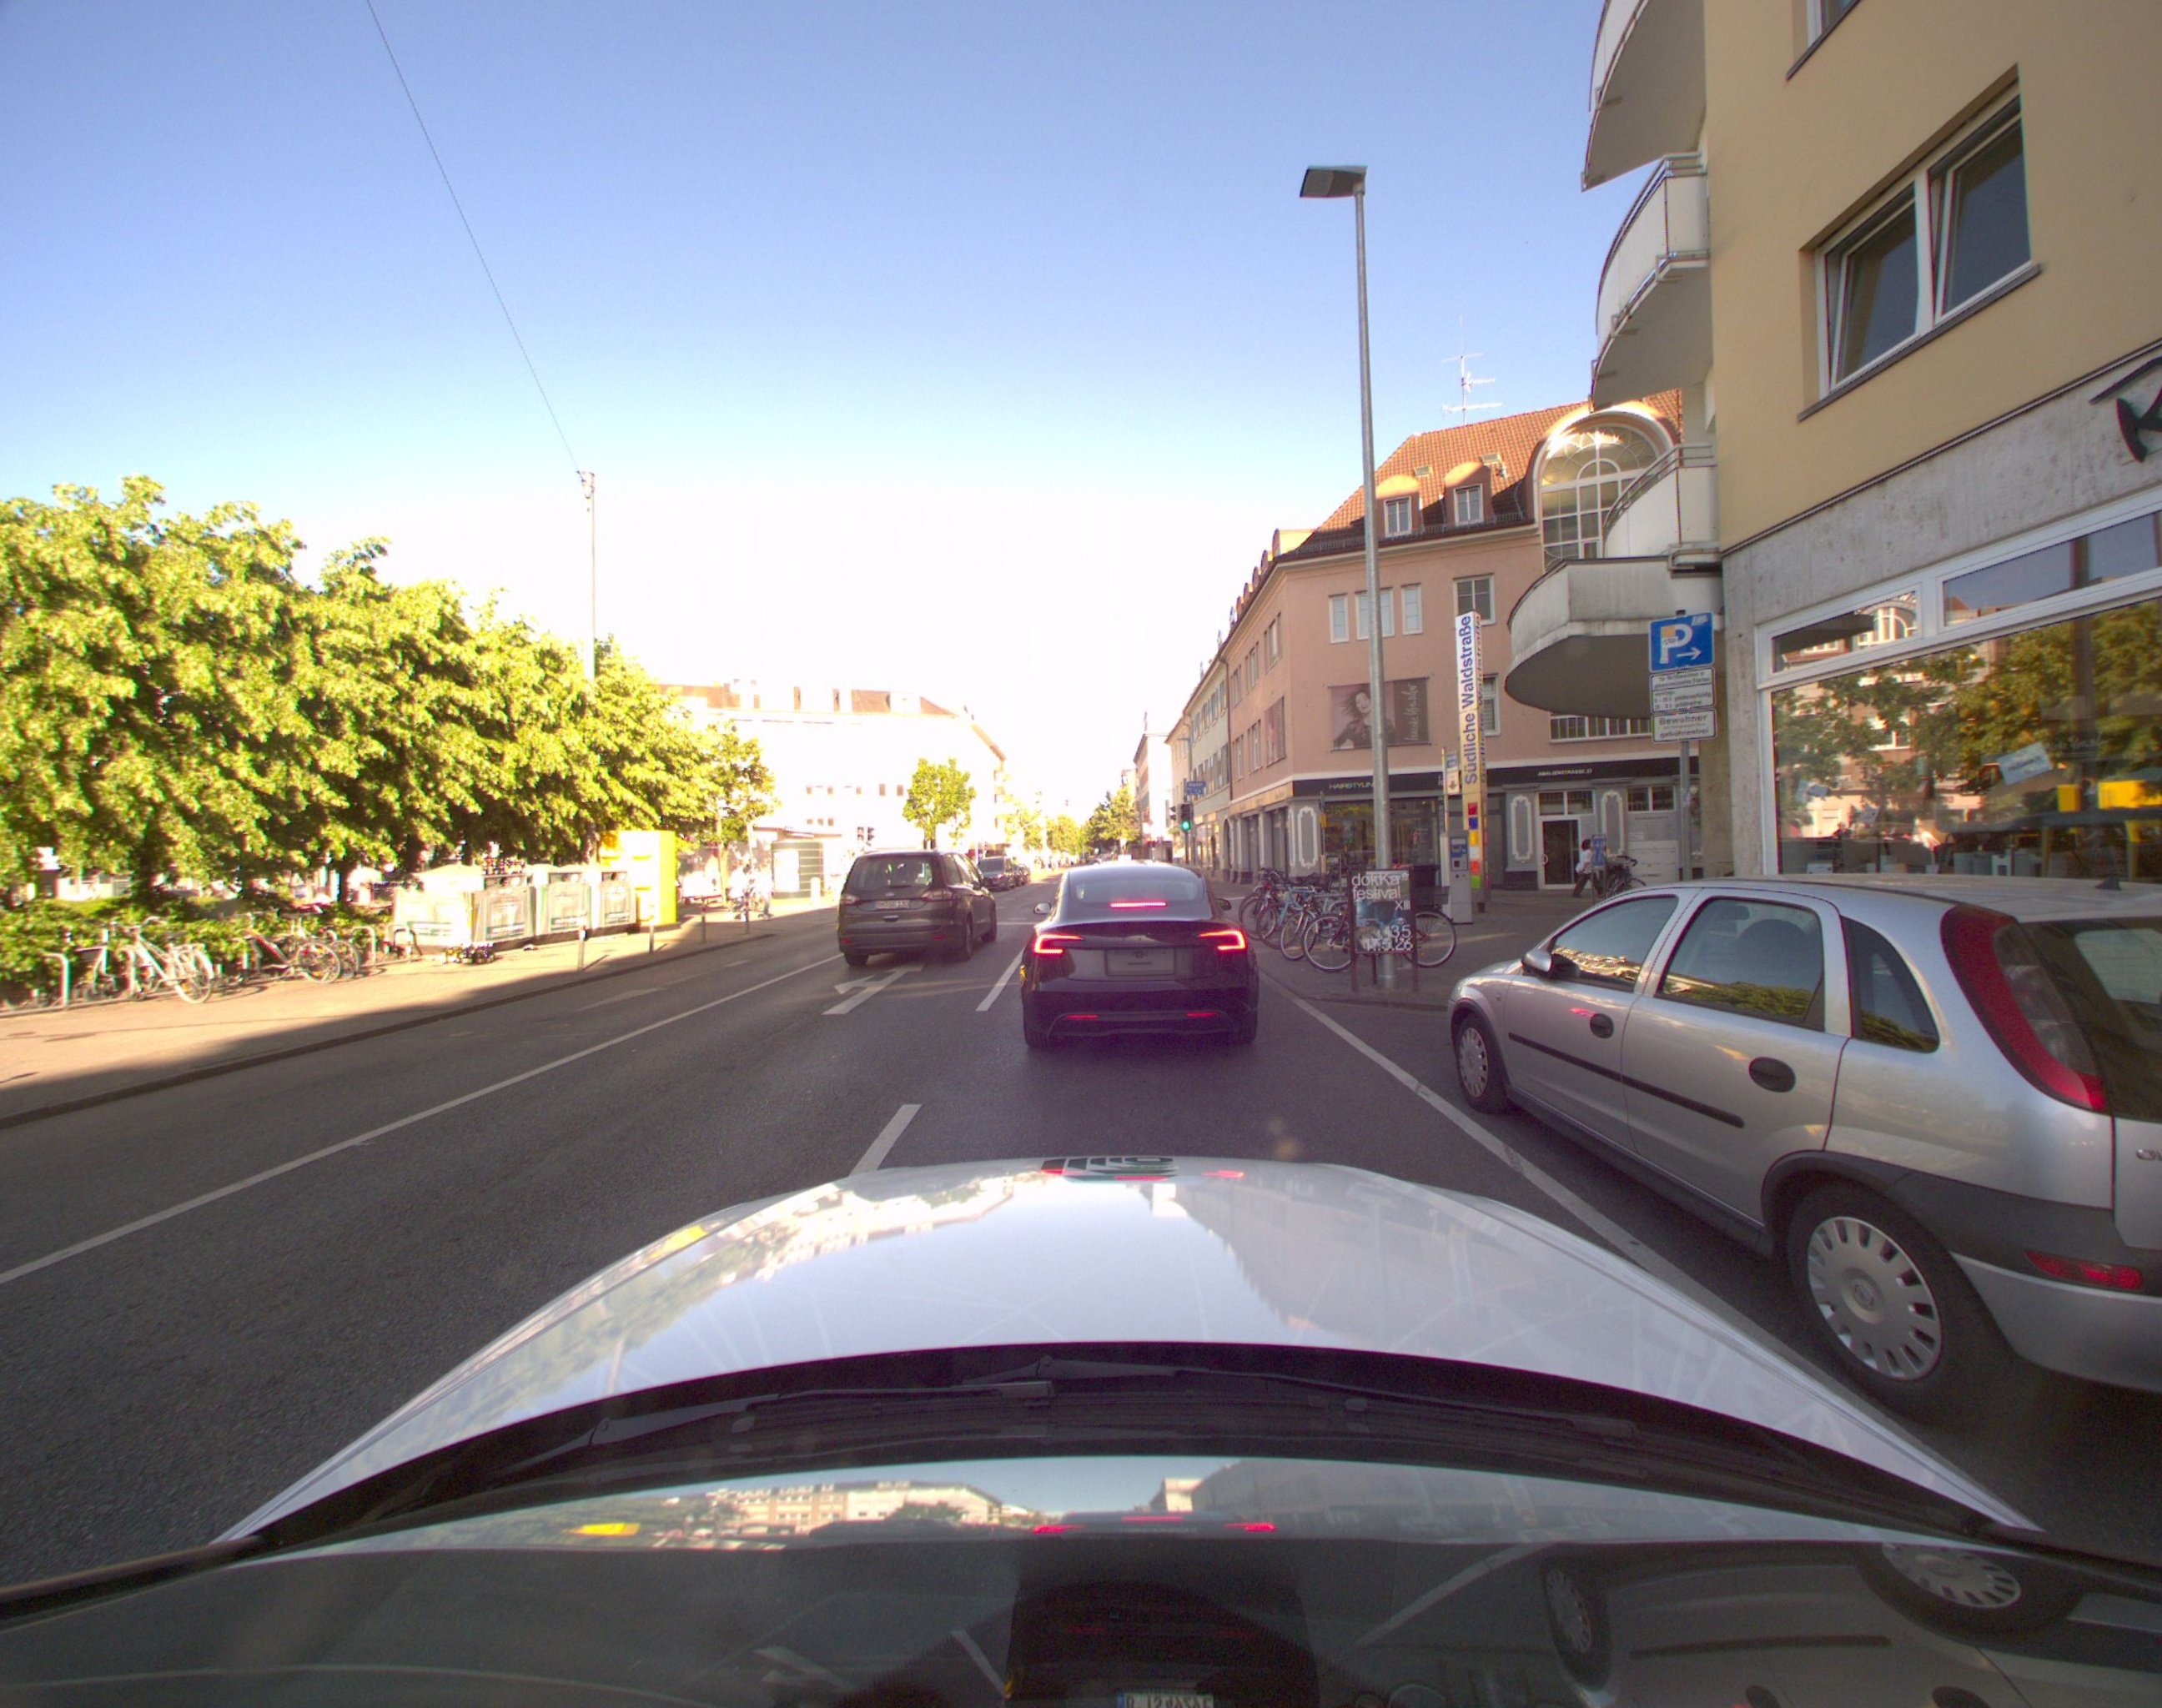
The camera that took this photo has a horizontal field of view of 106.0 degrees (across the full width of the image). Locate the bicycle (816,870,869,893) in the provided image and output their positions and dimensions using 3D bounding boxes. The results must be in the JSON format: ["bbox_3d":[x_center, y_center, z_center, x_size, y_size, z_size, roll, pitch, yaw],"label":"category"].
[{"bbox_3d":[-12.578,1.443,42.977,2.497,1.156,0.843,-1,0,0],"label":"bicycle"}]

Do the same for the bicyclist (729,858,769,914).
[{"bbox_3d":[-11.173,1.059,27.382,0.941,1.838,0.792,-1,0,24],"label":"bicyclist"}]

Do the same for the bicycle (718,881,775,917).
[{"bbox_3d":[-11.232,1.505,27.340,2.042,1.139,0.541,0,0,25],"label":"bicycle"}]

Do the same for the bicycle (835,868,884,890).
[{"bbox_3d":[-12.372,1.371,45.507,2.453,1.156,0.843,-1,0,0],"label":"bicycle"}]

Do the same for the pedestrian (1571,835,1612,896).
[{"bbox_3d":[13.151,0.292,20.998,0.740,1.552,0.703,-1,0,23],"label":"pedestrian"}]

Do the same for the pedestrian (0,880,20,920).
[{"bbox_3d":[-55.644,2.387,41.867,1.048,2.013,0.814,-1,0,0],"label":"pedestrian"}]

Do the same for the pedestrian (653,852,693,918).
[{"bbox_3d":[-12.303,0.932,24.572,0.823,1.955,0.712,0,0,13],"label":"pedestrian"}]

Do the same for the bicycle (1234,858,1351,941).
[{"bbox_3d":[3.508,0.738,13.641,1.738,1.267,0.782,-3,-1,4],"label":"bicycle"}]

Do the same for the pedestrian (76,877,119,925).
[{"bbox_3d":[-42.526,2.009,35.212,1.170,2.013,0.936,-1,0,28],"label":"pedestrian"}]

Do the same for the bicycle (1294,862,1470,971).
[{"bbox_3d":[3.637,0.753,9.972,1.876,1.193,0.693,-3,0,7],"label":"bicycle"}]

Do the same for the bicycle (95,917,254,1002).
[{"bbox_3d":[-11.455,1.329,10.308,1.590,1.018,0.430,-1,0,3],"label":"bicycle"}]

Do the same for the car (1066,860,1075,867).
[{"bbox_3d":[-2.463,2.185,187.326,1.988,1.637,3.998,-1,0,-1],"label":"car"}]

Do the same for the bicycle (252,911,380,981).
[{"bbox_3d":[-11.385,1.362,12.133,1.517,0.958,0.431,-1,1,3],"label":"bicycle"}]

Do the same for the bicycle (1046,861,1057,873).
[{"bbox_3d":[-3.467,1.554,95.744,1.108,1.344,3.998,-1,0,-1],"label":"bicycle"}]

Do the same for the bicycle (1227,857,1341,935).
[{"bbox_3d":[3.622,0.742,14.669,1.851,1.258,0.834,-3,-1,7],"label":"bicycle"}]

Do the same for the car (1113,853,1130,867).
[{"bbox_3d":[5.041,0.781,100.823,1.986,1.629,4.002,-1,0,2],"label":"car"}]

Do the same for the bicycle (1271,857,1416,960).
[{"bbox_3d":[3.541,0.727,11.108,1.713,1.268,0.792,-3,-1,7],"label":"bicycle"}]

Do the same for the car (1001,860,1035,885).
[{"bbox_3d":[-4.387,1.264,57.234,1.988,1.436,4.672,-5,0,-1],"label":"car"}]

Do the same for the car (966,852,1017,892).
[{"bbox_3d":[-4.639,0.871,42.726,1.827,1.845,4.677,-5,0,2],"label":"car"}]

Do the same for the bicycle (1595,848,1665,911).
[{"bbox_3d":[11.081,0.488,16.519,0.653,1.199,2.223,-2,0,21],"label":"bicycle"}]

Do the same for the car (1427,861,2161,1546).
[{"bbox_3d":[2.984,0.732,3.478,1.607,1.382,3.645,0,0,2],"label":"car"}]

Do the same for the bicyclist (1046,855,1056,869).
[{"bbox_3d":[-3.494,0.939,95.841,1.123,1.628,0.965,-1,0,-1],"label":"bicyclist"}]

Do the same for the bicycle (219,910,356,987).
[{"bbox_3d":[-11.319,1.334,11.627,1.561,1.023,0.430,-1,0,3],"label":"bicycle"}]

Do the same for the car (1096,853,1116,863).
[{"bbox_3d":[5.141,0.871,167.629,3.974,2.013,2.000,-1,0,0],"label":"car"}]

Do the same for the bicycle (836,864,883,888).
[{"bbox_3d":[-12.902,1.250,47.454,2.472,1.324,0.921,-1,0,-4],"label":"bicycle"}]

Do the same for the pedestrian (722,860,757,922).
[{"bbox_3d":[-9.717,1.033,23.178,0.541,1.728,0.679,-2,-1,34],"label":"pedestrian"}]

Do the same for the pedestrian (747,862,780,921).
[{"bbox_3d":[-9.295,1.089,23.842,0.676,1.662,0.625,-2,-1,36],"label":"pedestrian"}]

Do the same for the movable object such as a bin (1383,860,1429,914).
[{"bbox_3d":[6.752,0.680,16.935,0.730,1.092,0.628,0,-1,3],"label":"movable object such as a bin"}]

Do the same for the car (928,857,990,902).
[{"bbox_3d":[-4.947,0.992,33.533,1.802,1.555,4.308,-5,0,-1],"label":"car"}]

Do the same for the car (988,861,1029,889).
[{"bbox_3d":[-4.358,1.239,49.637,1.988,1.410,4.672,-5,0,-1],"label":"car"}]

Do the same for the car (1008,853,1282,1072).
[{"bbox_3d":[0.498,0.759,7.584,1.841,1.455,4.001,-1,0,2],"label":"car"}]

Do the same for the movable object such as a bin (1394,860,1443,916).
[{"bbox_3d":[6.743,0.674,16.298,0.749,1.092,0.628,0,-1,3],"label":"movable object such as a bin"}]

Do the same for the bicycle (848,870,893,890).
[{"bbox_3d":[-12.945,1.577,50.213,2.528,1.156,0.841,-1,0,-4],"label":"bicycle"}]

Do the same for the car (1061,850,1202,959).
[{"bbox_3d":[0.745,0.727,13.757,1.987,1.512,4.175,-1,0,0],"label":"car"}]

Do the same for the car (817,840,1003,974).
[{"bbox_3d":[-2.574,0.729,13.543,1.987,1.772,4.728,-2,0,1],"label":"car"}]

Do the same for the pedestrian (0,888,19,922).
[{"bbox_3d":[-67.054,3.167,50.471,1.269,2.014,1.284,-1,-1,28],"label":"pedestrian"}]

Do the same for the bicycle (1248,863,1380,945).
[{"bbox_3d":[3.522,0.756,12.461,1.788,1.124,0.783,-3,-1,7],"label":"bicycle"}]
